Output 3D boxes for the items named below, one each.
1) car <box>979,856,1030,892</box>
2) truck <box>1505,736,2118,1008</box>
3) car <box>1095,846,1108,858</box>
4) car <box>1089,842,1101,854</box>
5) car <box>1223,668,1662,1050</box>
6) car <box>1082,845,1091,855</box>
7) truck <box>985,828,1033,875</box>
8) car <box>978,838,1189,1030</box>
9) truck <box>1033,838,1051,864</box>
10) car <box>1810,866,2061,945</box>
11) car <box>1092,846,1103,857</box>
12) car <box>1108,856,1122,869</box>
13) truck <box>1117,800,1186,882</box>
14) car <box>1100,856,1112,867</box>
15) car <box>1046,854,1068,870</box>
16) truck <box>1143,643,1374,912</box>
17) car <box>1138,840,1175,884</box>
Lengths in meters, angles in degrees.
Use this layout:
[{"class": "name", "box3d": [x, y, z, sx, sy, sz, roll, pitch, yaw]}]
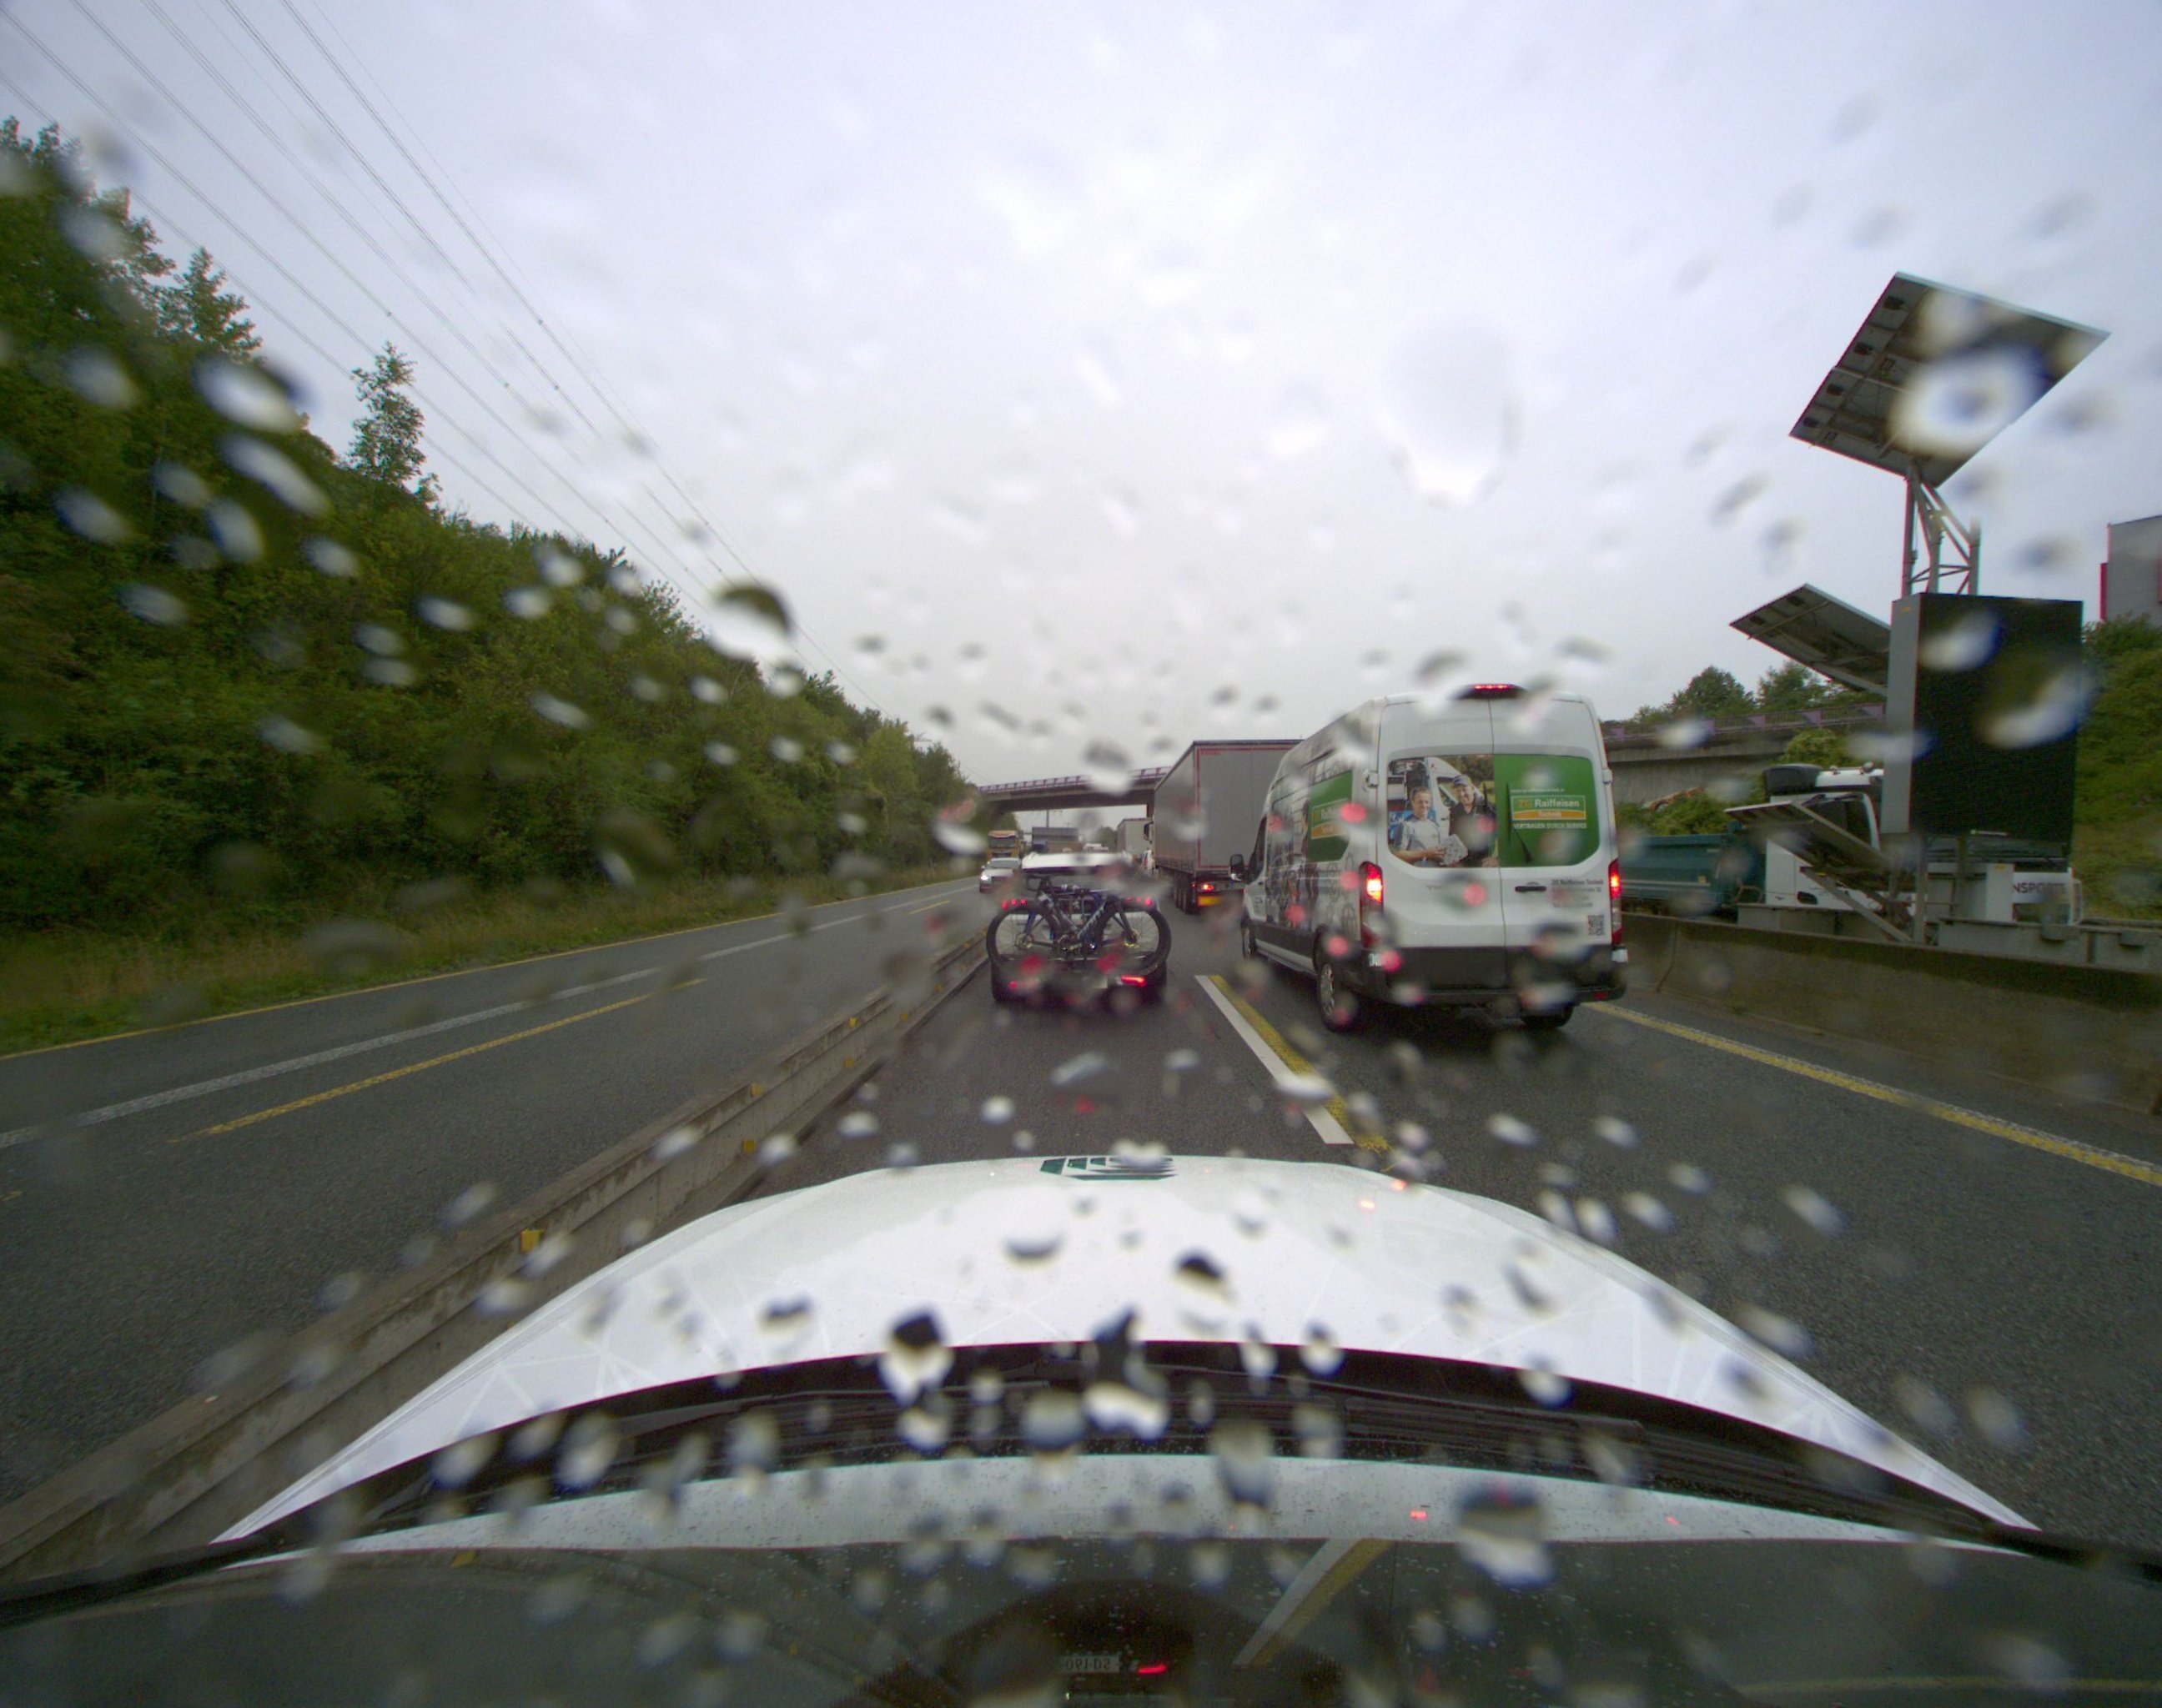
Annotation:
[{"class": "car", "box3d": [-3.274, 0.826, 35.524, 1.774, 1.443, 4.328, -1, -1, 1]}, {"class": "truck", "box3d": [10.844, 0.244, 14.013, 2.511, 3.132, 9.121, -1, -1, 1]}, {"class": "car", "box3d": [3.432, -0.337, 134.937, 1.988, 2.014, 3.998, -1, -1, -1]}, {"class": "car", "box3d": [2.783, -1.139, 162.831, 2.231, 2.307, 4.573, -1, -1, 2]}, {"class": "car", "box3d": [3.080, 0.058, 8.808, 2.136, 2.676, 6.119, -1, -1, 1]}, {"class": "car", "box3d": [1.353, -0.879, 188.387, 1.986, 2.126, 4.528, -1, -1, 2]}, {"class": "truck", "box3d": [-6.076, -0.146, 70.862, 2.671, 3.656, 12.316, -1, -1, 2]}, {"class": "car", "box3d": [0.135, 0.710, 9.335, 1.803, 1.637, 4.639, -1, -1, 3]}, {"class": "truck", "box3d": [-6.556, -0.395, 134.599, 2.760, 4.123, 16.903, -1, -1, -4]}, {"class": "car", "box3d": [22.493, 1.270, 21.781, 1.934, 1.829, 4.731, -1, -1, 4]}, {"class": "car", "box3d": [2.984, -0.492, 149.896, 1.986, 2.014, 4.001, -1, -1, 2]}, {"class": "car", "box3d": [4.071, 0.965, 97.105, 1.632, 1.497, 3.667, -1, -1, 2]}, {"class": "truck", "box3d": [5.449, -0.835, 67.250, 4.723, 5.673, 20.390, -1, -1, 3]}, {"class": "car", "box3d": [3.736, 1.095, 121.252, 1.632, 1.497, 3.667, -1, -1, 2]}, {"class": "car", "box3d": [-2.369, 0.789, 81.121, 1.928, 1.607, 4.121, -1, -1, 2]}, {"class": "truck", "box3d": [4.529, -1.547, 27.465, 3.964, 5.673, 20.383, -1, -1, 2]}, {"class": "car", "box3d": [3.909, 0.428, 42.830, 1.663, 2.180, 4.537, -1, -1, 2]}]
